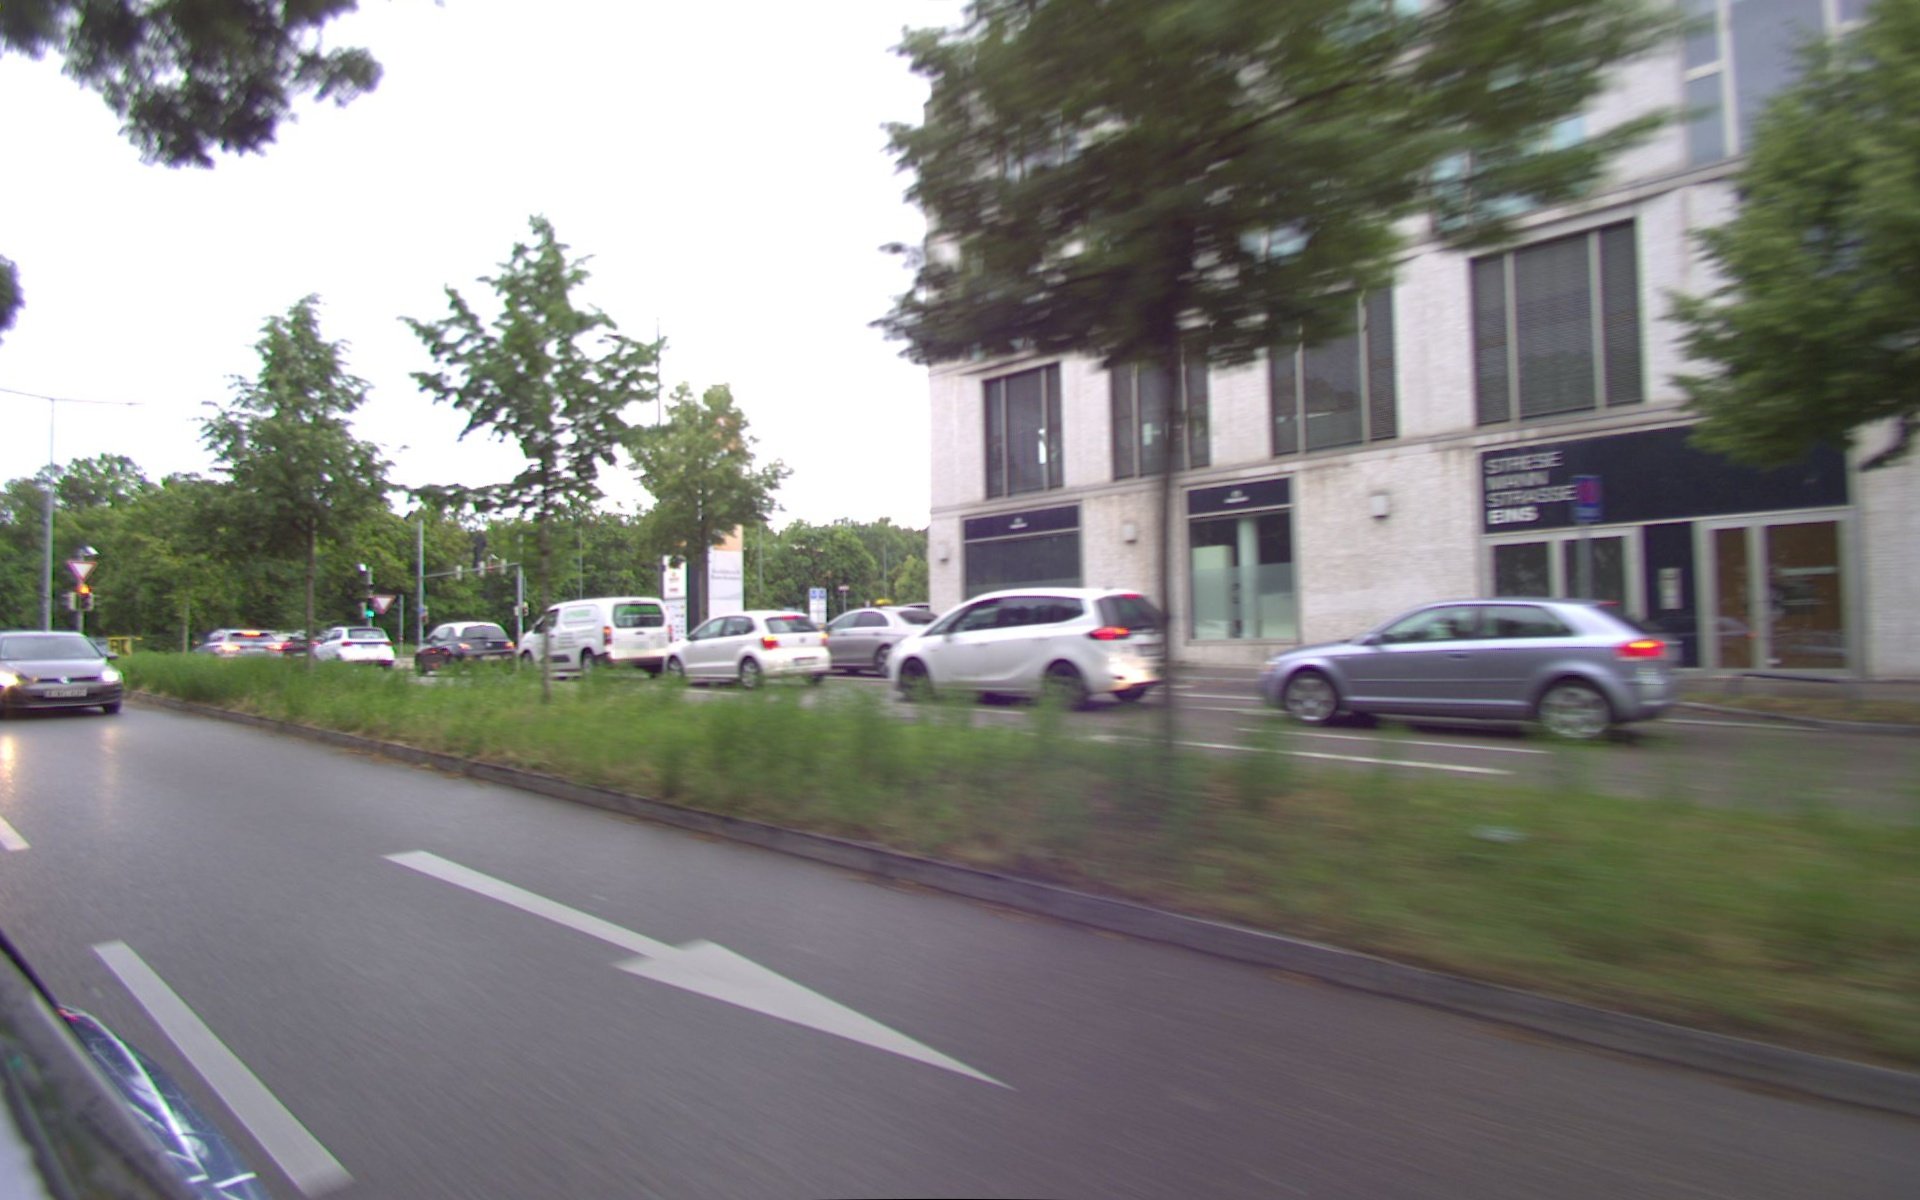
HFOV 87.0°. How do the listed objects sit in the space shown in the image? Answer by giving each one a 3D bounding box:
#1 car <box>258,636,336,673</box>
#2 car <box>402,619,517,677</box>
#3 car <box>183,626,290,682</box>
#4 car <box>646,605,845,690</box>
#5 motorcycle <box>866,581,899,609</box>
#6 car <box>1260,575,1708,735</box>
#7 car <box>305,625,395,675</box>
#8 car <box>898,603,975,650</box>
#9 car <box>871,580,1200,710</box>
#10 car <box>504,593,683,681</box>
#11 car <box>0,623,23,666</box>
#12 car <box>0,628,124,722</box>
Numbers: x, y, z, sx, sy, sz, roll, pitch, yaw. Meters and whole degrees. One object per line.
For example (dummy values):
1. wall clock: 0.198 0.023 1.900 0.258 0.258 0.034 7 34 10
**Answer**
1. car: -29.260 2.422 44.643 4.061 1.531 1.806 -4 -5 40
2. car: -13.914 1.366 28.063 3.750 1.471 1.695 -5 -5 43
3. car: -23.282 1.738 32.527 4.161 1.587 1.830 -5 -3 40
4. car: -4.224 0.883 19.618 4.059 1.479 1.725 -1 -3 42
5. motorcycle: -4.112 -0.252 53.551 1.751 1.413 0.522 -4 -3 35
6. car: 5.472 0.579 10.889 3.994 1.421 1.624 -3 -3 41
7. car: -20.884 1.726 34.600 3.700 1.588 1.632 -4 -4 42
8. car: -0.703 0.848 32.398 1.553 1.387 3.280 -2 -2 15
9. car: 0.962 0.601 14.793 4.672 1.613 1.810 -1 -1 41
10. car: -8.566 0.899 23.413 4.771 1.816 1.824 -4 -2 42
11. car: -41.149 1.878 41.243 1.892 1.785 3.974 -2 -2 19
12. car: -16.367 1.248 17.925 3.999 1.450 1.879 -1 -1 42
